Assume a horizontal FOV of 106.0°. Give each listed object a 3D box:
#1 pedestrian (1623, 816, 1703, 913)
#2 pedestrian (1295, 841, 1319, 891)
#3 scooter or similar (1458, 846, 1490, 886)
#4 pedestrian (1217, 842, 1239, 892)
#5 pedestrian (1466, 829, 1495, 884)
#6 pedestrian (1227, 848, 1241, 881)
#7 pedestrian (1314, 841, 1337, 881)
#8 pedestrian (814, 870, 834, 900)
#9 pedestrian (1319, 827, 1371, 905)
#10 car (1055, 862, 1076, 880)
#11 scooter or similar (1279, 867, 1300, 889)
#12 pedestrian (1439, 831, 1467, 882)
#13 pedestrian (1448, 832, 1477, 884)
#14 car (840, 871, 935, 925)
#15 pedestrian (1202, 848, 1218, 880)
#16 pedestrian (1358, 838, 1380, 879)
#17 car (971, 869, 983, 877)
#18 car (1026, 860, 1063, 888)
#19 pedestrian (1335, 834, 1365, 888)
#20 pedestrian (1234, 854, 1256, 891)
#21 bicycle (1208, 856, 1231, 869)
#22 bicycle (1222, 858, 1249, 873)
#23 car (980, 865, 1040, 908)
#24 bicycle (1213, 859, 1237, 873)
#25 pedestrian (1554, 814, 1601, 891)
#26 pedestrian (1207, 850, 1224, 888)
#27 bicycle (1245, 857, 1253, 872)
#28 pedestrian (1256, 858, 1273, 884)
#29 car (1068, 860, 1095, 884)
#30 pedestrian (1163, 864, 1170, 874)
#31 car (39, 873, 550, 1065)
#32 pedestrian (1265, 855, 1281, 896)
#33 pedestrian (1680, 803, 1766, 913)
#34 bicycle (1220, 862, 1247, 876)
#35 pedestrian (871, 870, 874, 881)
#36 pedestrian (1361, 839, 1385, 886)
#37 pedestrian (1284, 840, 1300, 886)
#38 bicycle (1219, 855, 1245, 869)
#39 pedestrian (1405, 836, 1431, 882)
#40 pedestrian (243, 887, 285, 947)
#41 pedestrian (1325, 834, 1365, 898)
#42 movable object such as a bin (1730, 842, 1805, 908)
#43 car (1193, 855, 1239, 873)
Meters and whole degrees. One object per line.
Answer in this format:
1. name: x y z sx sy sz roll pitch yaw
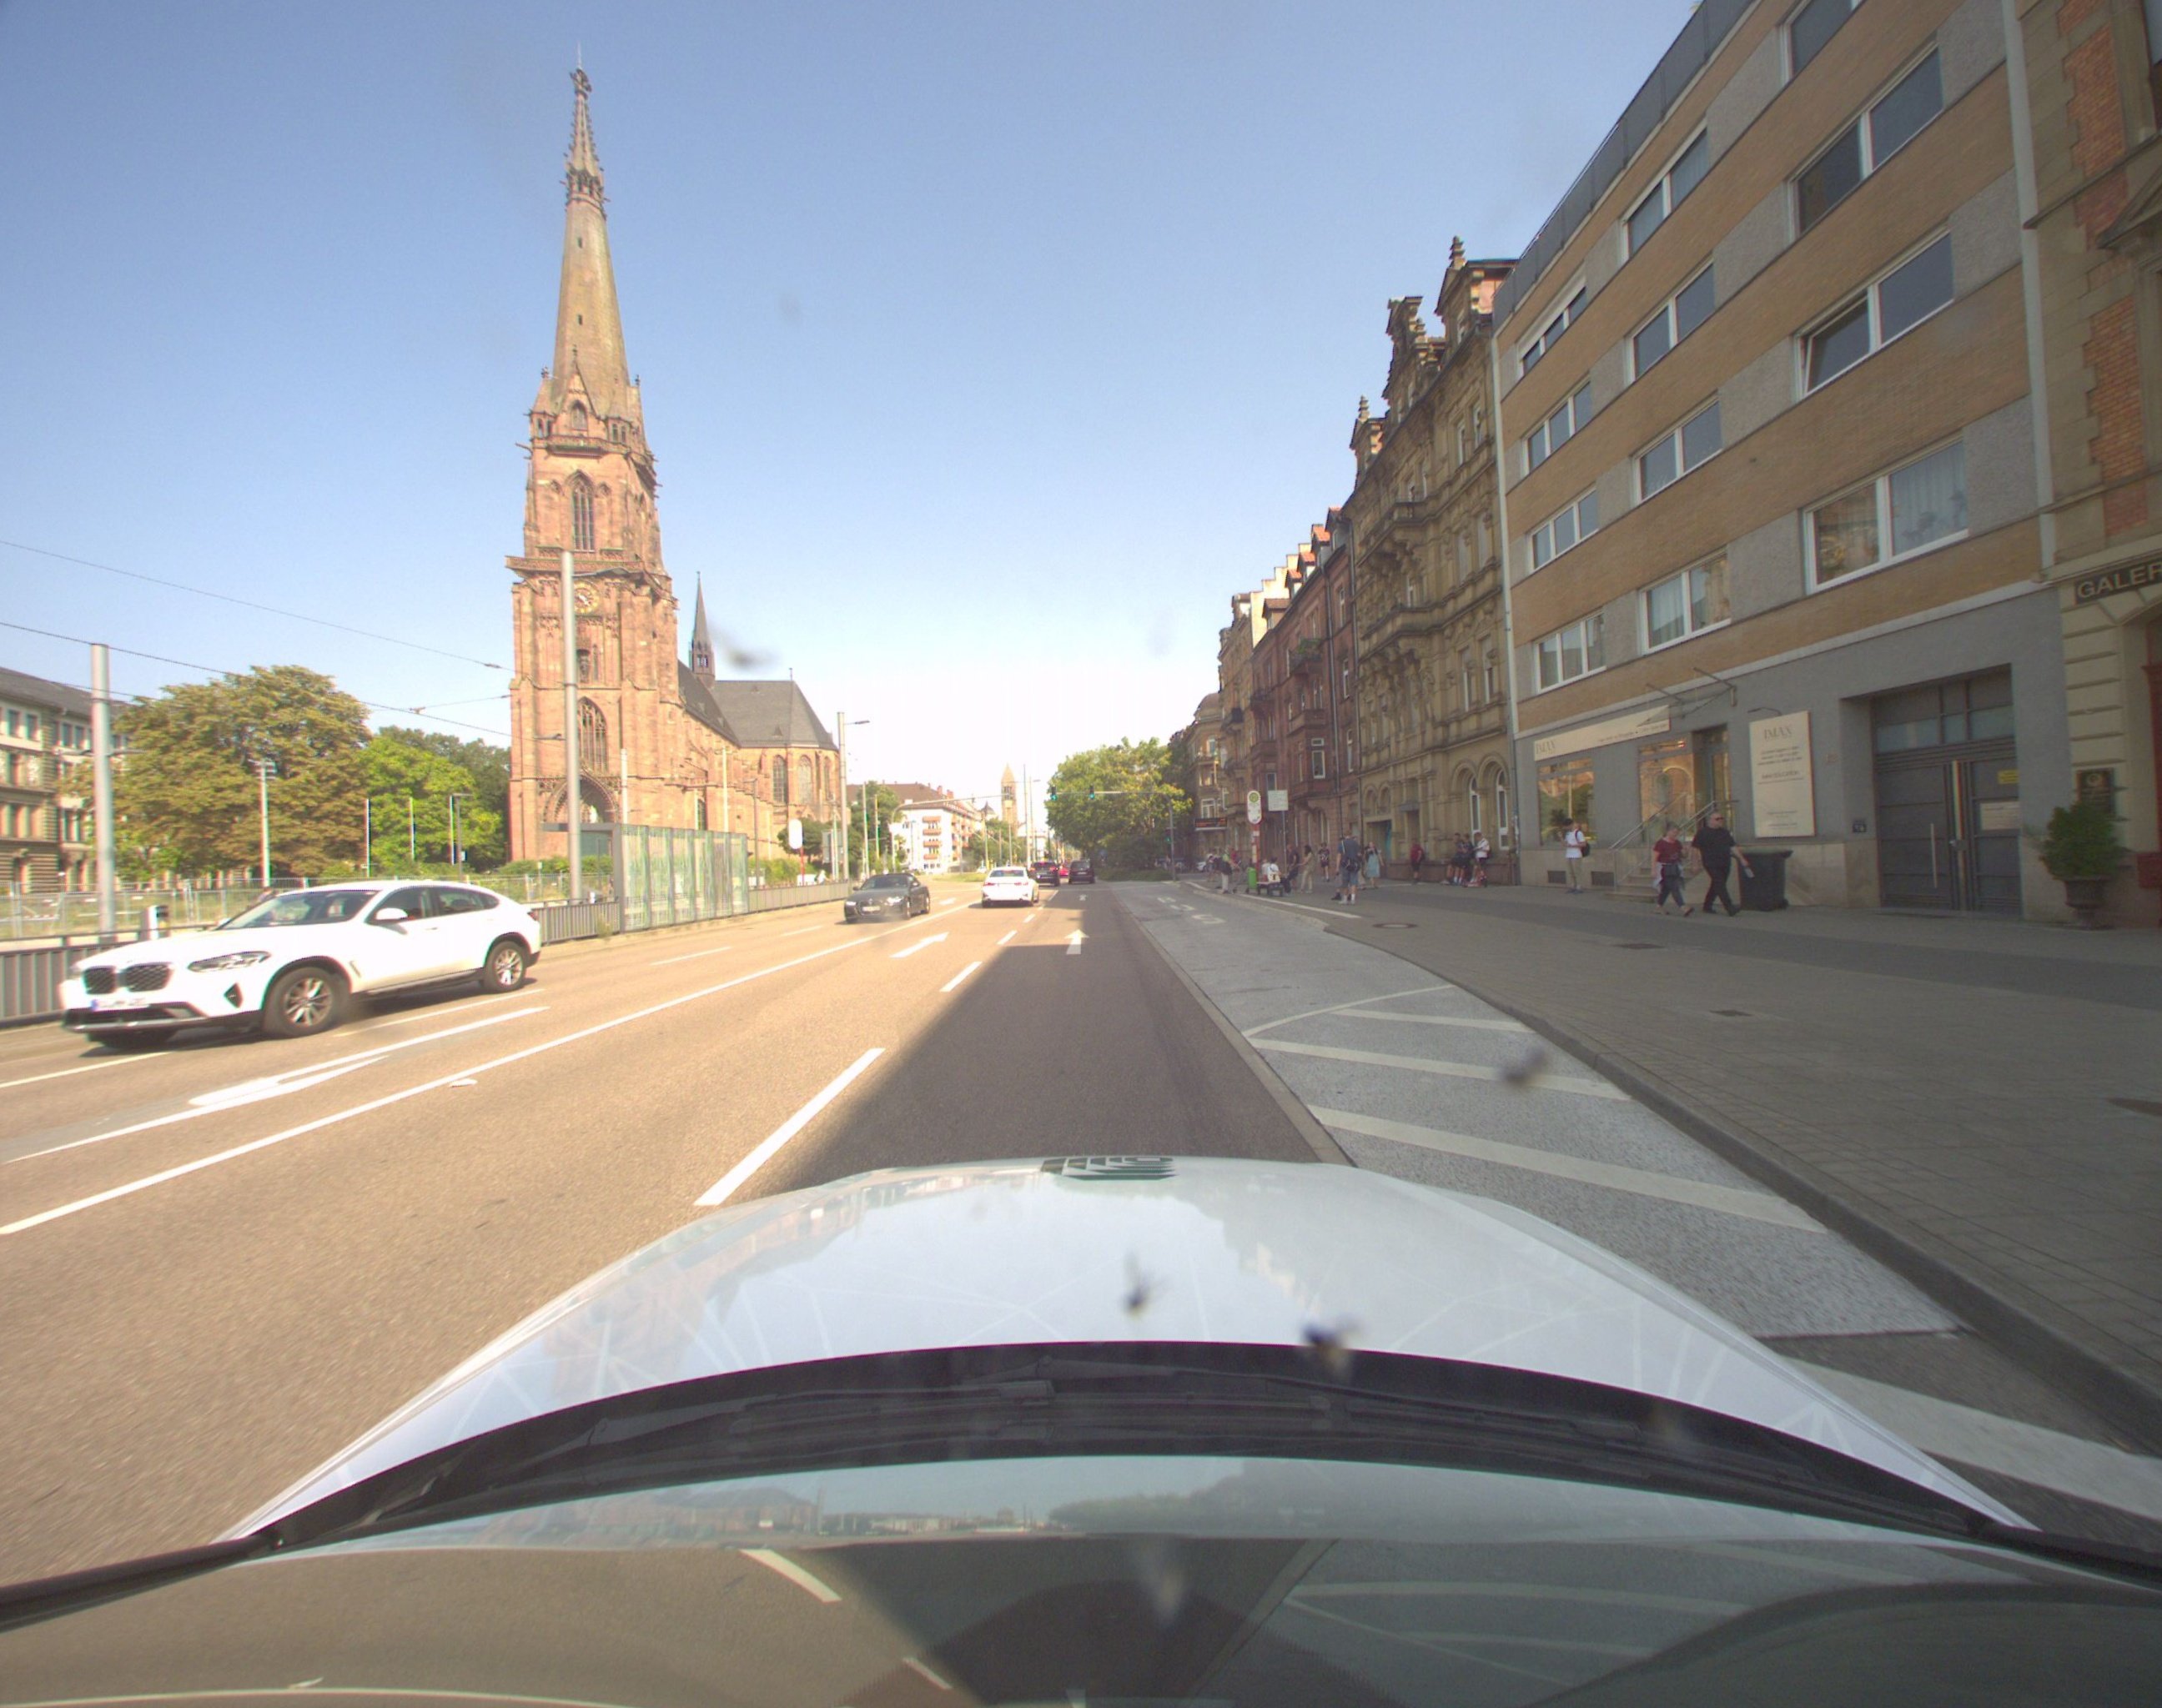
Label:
1. pedestrian: 10.162 0.176 14.241 0.717 1.610 0.856 -3 -1 1
2. pedestrian: 7.913 0.420 28.518 0.563 1.729 0.616 -3 -1 -3
3. scooter or similar: 11.987 0.359 24.864 0.359 1.163 1.151 -3 0 -2
4. pedestrian: 5.190 0.466 28.785 0.563 1.729 0.744 -3 -1 -3
5. pedestrian: 12.759 0.085 26.020 0.602 1.731 0.510 -3 -1 -3
6. pedestrian: 8.011 0.527 42.730 0.480 1.702 0.702 -3 -1 -3
7. pedestrian: 10.950 0.319 36.538 0.698 1.724 0.897 -3 -1 0
8. pedestrian: -15.175 1.829 48.061 0.914 1.679 0.602 -3 -1 -1
9. pedestrian: 6.493 0.289 20.094 0.923 1.831 0.800 -3 -1 -3
10. car: -1.473 1.654 79.004 1.825 1.621 4.357 -1 0 1
11. scooter or similar: 7.290 0.836 28.488 0.563 0.741 0.514 -3 -1 -3
12. pedestrian: 12.653 0.092 27.735 0.602 1.692 0.586 -3 -1 -3
13. pedestrian: 12.687 0.132 27.064 0.602 1.692 0.586 -3 -1 -3
14. car: -5.801 1.263 24.931 1.707 1.331 4.521 -4 -1 0
15. pedestrian: 6.848 0.539 43.140 0.688 1.664 0.619 -3 -1 1
16. pedestrian: 12.392 0.185 35.042 0.627 1.719 0.691 -3 -1 0
17. car: -21.448 3.869 167.853 1.988 1.500 3.998 -3 0 -1
18. car: -2.256 1.212 51.497 1.986 1.621 4.357 -1 0 1
19. pedestrian: 9.292 0.236 28.155 0.614 1.804 1.072 -3 -1 2
20. pedestrian: 5.794 0.642 28.781 0.563 1.277 0.596 -3 -1 -4
21. bicycle: 12.115 0.758 71.331 1.925 1.048 0.526 -3 -1 -6
22. bicycle: 11.965 0.901 63.143 1.925 1.048 0.498 -3 -1 -6
23. car: -2.559 1.140 30.391 1.803 1.427 4.774 0 0 0
24. bicycle: 12.073 0.979 68.239 1.925 1.048 0.526 -3 -1 -6
25. pedestrian: 12.174 -0.027 20.000 0.602 1.831 0.741 -3 -1 -3
26. pedestrian: 5.972 0.660 36.090 0.527 1.612 0.702 -3 -1 -3
27. bicycle: 12.660 0.772 61.324 0.414 1.048 1.672 -3 -1 6
28. pedestrian: 5.984 0.553 26.572 0.302 0.820 0.602 -3 -1 -7
29. car: 0.099 1.239 58.053 1.825 1.621 4.357 -1 0 1
30. pedestrian: 8.834 1.567 84.120 0.446 1.071 0.482 -2 -1 -30
31. car: -8.836 1.124 9.876 1.707 1.611 4.504 -4 -1 0
32. pedestrian: 6.060 0.669 25.710 0.275 1.274 0.447 -3 -1 -6
33. pedestrian: 10.935 0.065 13.892 0.717 1.787 0.856 -3 -1 1
34. bicycle: 11.967 1.187 63.864 1.925 1.048 0.498 -3 -1 -6
35. pedestrian: -30.151 3.062 117.665 0.304 1.518 0.340 -3 -1 -4
36. pedestrian: 10.114 0.295 28.264 0.484 1.610 0.813 -3 -1 2
37. pedestrian: 8.223 0.347 31.762 0.340 1.732 0.805 -3 -1 -3
38. bicycle: 12.272 0.612 66.128 1.925 1.048 0.498 -3 -1 -6
39. pedestrian: 12.310 0.181 29.760 0.602 1.654 0.586 -3 -1 -3
40. pedestrian: -24.149 1.848 24.072 0.515 1.700 0.664 -3 -1 0
41. pedestrian: 7.369 0.341 22.780 0.748 1.729 0.800 -3 -1 -3
42. movable object such as a bin: 11.955 0.360 14.189 0.738 1.080 0.666 -2 -1 -16
43. car: 13.651 0.988 82.367 4.172 1.563 1.997 -3 -1 -4
